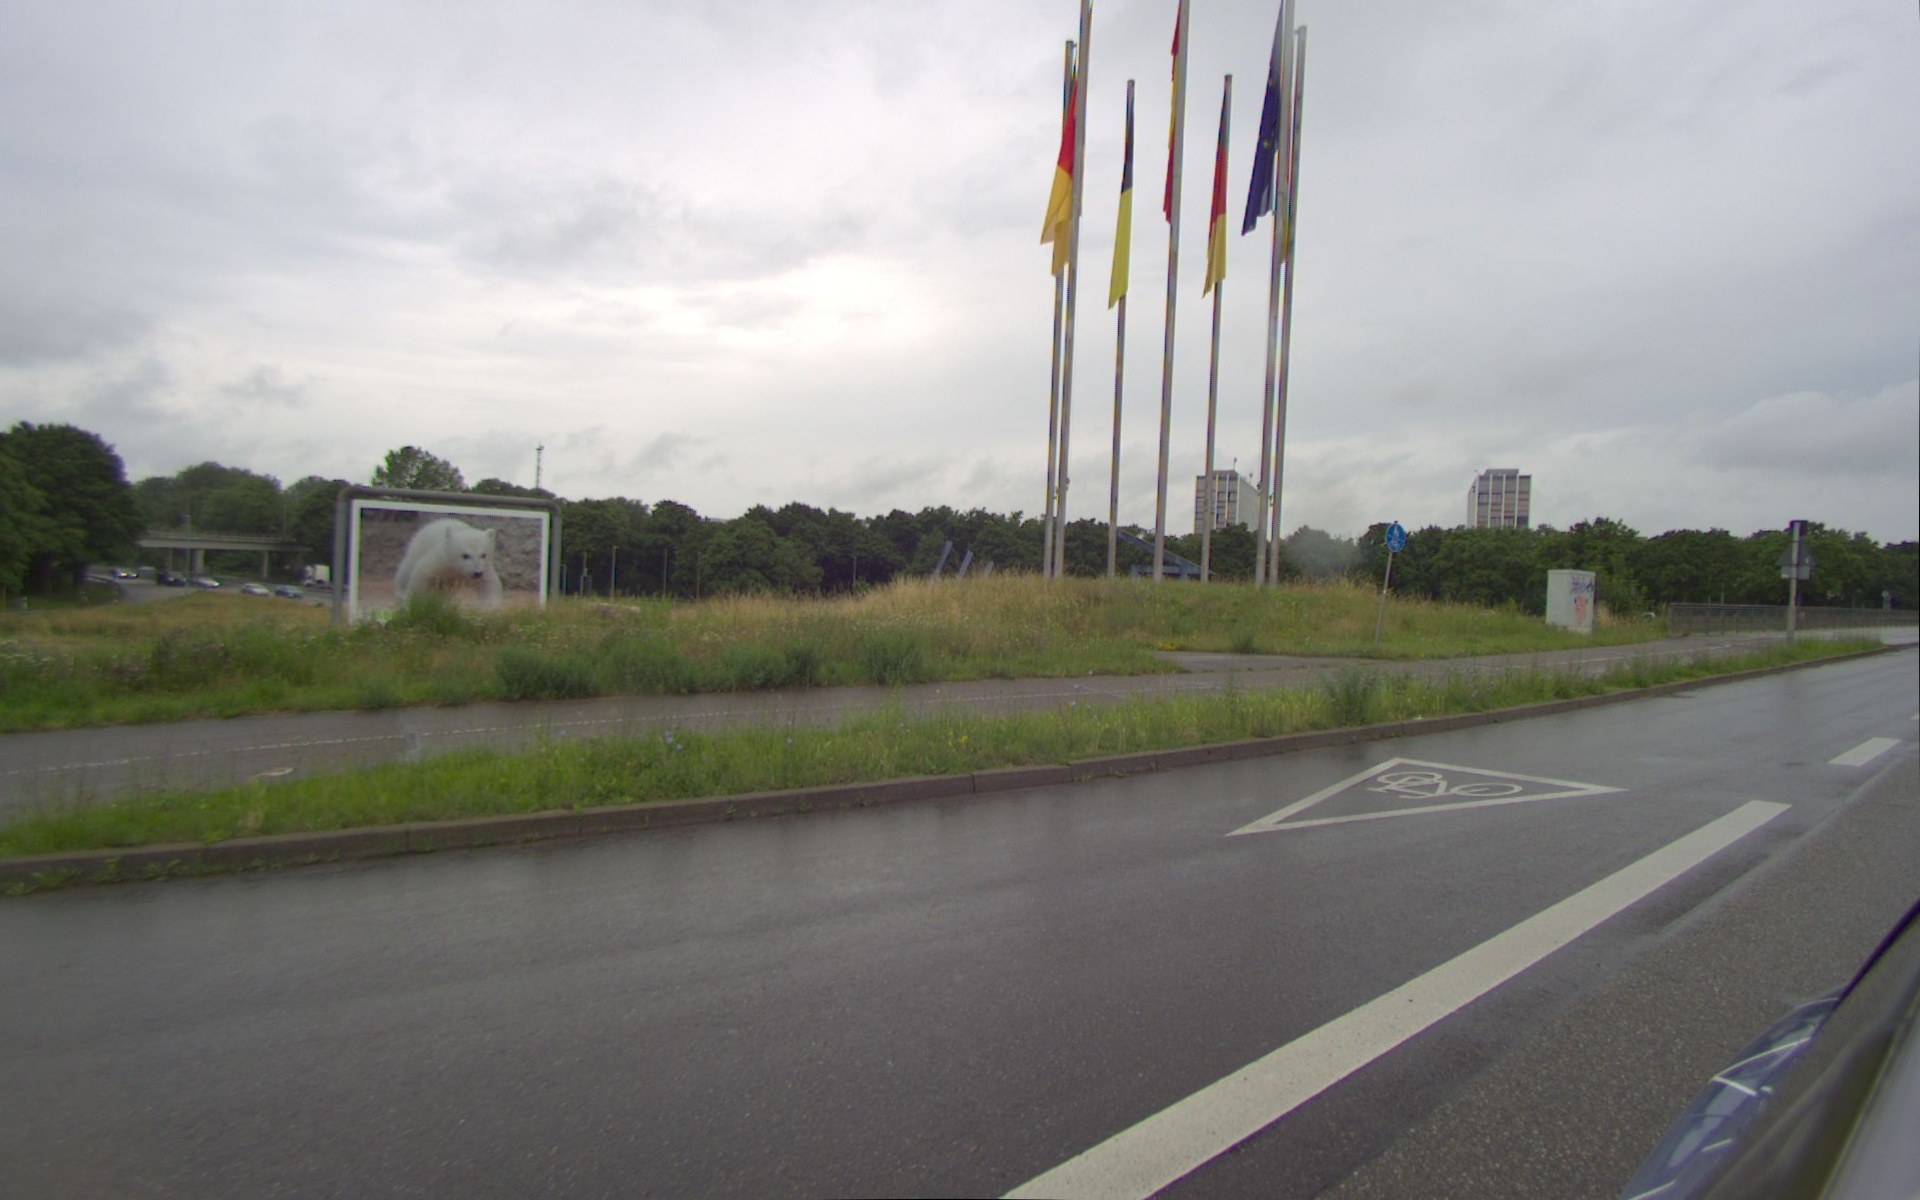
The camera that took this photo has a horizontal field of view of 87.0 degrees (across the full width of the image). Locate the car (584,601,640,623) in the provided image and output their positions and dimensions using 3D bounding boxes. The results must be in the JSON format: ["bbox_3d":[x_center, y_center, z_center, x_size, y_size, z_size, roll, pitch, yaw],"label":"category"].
[{"bbox_3d":[-30.291,1.028,88.170,4.702,1.719,1.980,2,2,29],"label":"car"}]
